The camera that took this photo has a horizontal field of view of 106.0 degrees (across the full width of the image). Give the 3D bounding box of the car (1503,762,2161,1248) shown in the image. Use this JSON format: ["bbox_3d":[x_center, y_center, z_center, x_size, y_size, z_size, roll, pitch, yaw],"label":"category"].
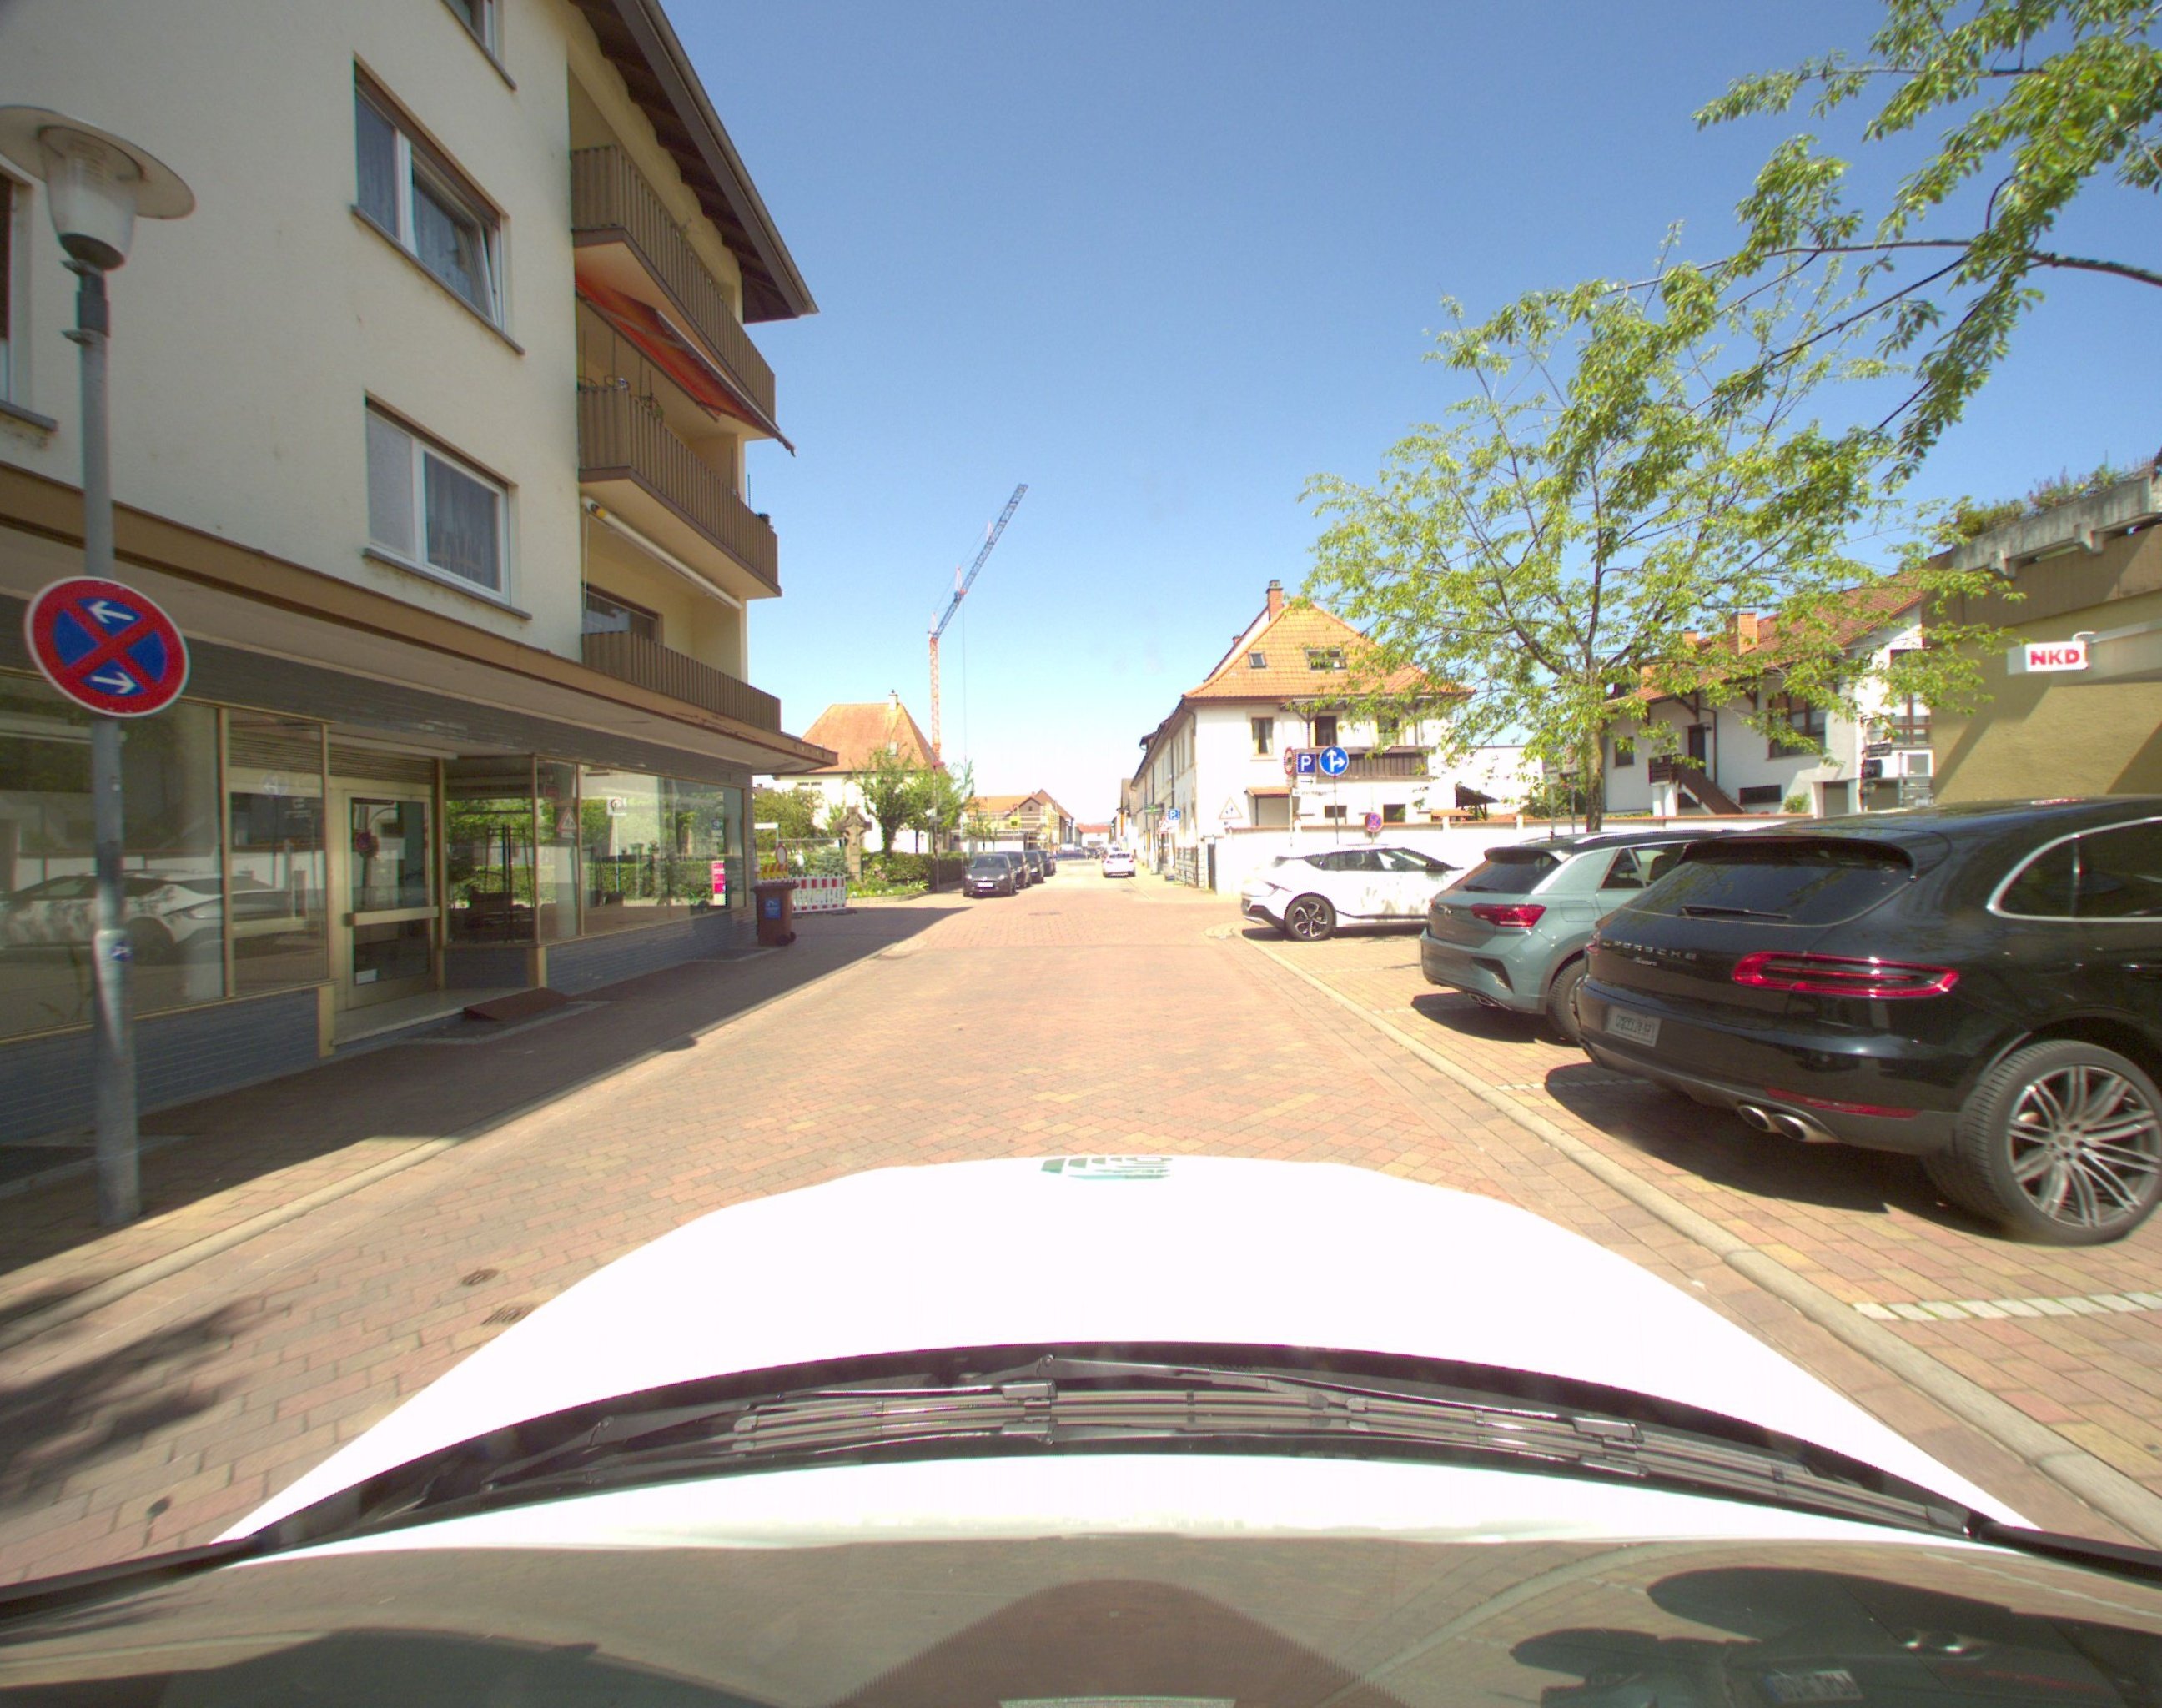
[{"bbox_3d":[4.717,0.464,3.968,4.267,1.681,1.999,-3,0,-2],"label":"car"}]

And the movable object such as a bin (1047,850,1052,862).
[{"bbox_3d":[-2.948,0.212,77.109,0.431,1.155,0.363,-1,0,-9],"label":"movable object such as a bin"}]

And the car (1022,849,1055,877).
[{"bbox_3d":[-2.667,0.528,51.941,1.820,1.630,4.216,-1,0,0],"label":"car"}]

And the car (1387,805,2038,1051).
[{"bbox_3d":[4.873,0.526,6.758,3.930,1.534,1.824,-3,0,1],"label":"car"}]

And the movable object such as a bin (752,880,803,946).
[{"bbox_3d":[-5.199,1.002,13.995,0.654,1.070,0.663,-1,0,-5],"label":"movable object such as a bin"}]

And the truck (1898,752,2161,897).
[{"bbox_3d":[23.139,-0.671,18.542,6.358,3.005,2.547,-1,0,3],"label":"truck"}]

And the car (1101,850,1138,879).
[{"bbox_3d":[2.332,0.572,48.075,1.877,1.542,4.250,-1,0,6],"label":"car"}]

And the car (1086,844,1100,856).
[{"bbox_3d":[1.703,-0.519,117.254,1.875,1.668,4.153,-1,0,0],"label":"car"}]

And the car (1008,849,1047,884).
[{"bbox_3d":[-2.682,0.597,41.156,1.632,1.628,3.768,-1,1,1],"label":"car"}]

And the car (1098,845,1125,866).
[{"bbox_3d":[2.542,0.068,67.953,1.879,1.556,3.892,-5,1,-2],"label":"car"}]

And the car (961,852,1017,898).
[{"bbox_3d":[-3.279,0.706,29.626,1.698,1.496,3.854,-1,0,-2],"label":"car"}]

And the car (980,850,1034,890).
[{"bbox_3d":[-3.157,0.638,35.486,1.808,1.605,4.027,-1,0,2],"label":"car"}]

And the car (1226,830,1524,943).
[{"bbox_3d":[4.902,0.512,14.003,4.428,1.575,1.788,-3,0,-2],"label":"car"}]
